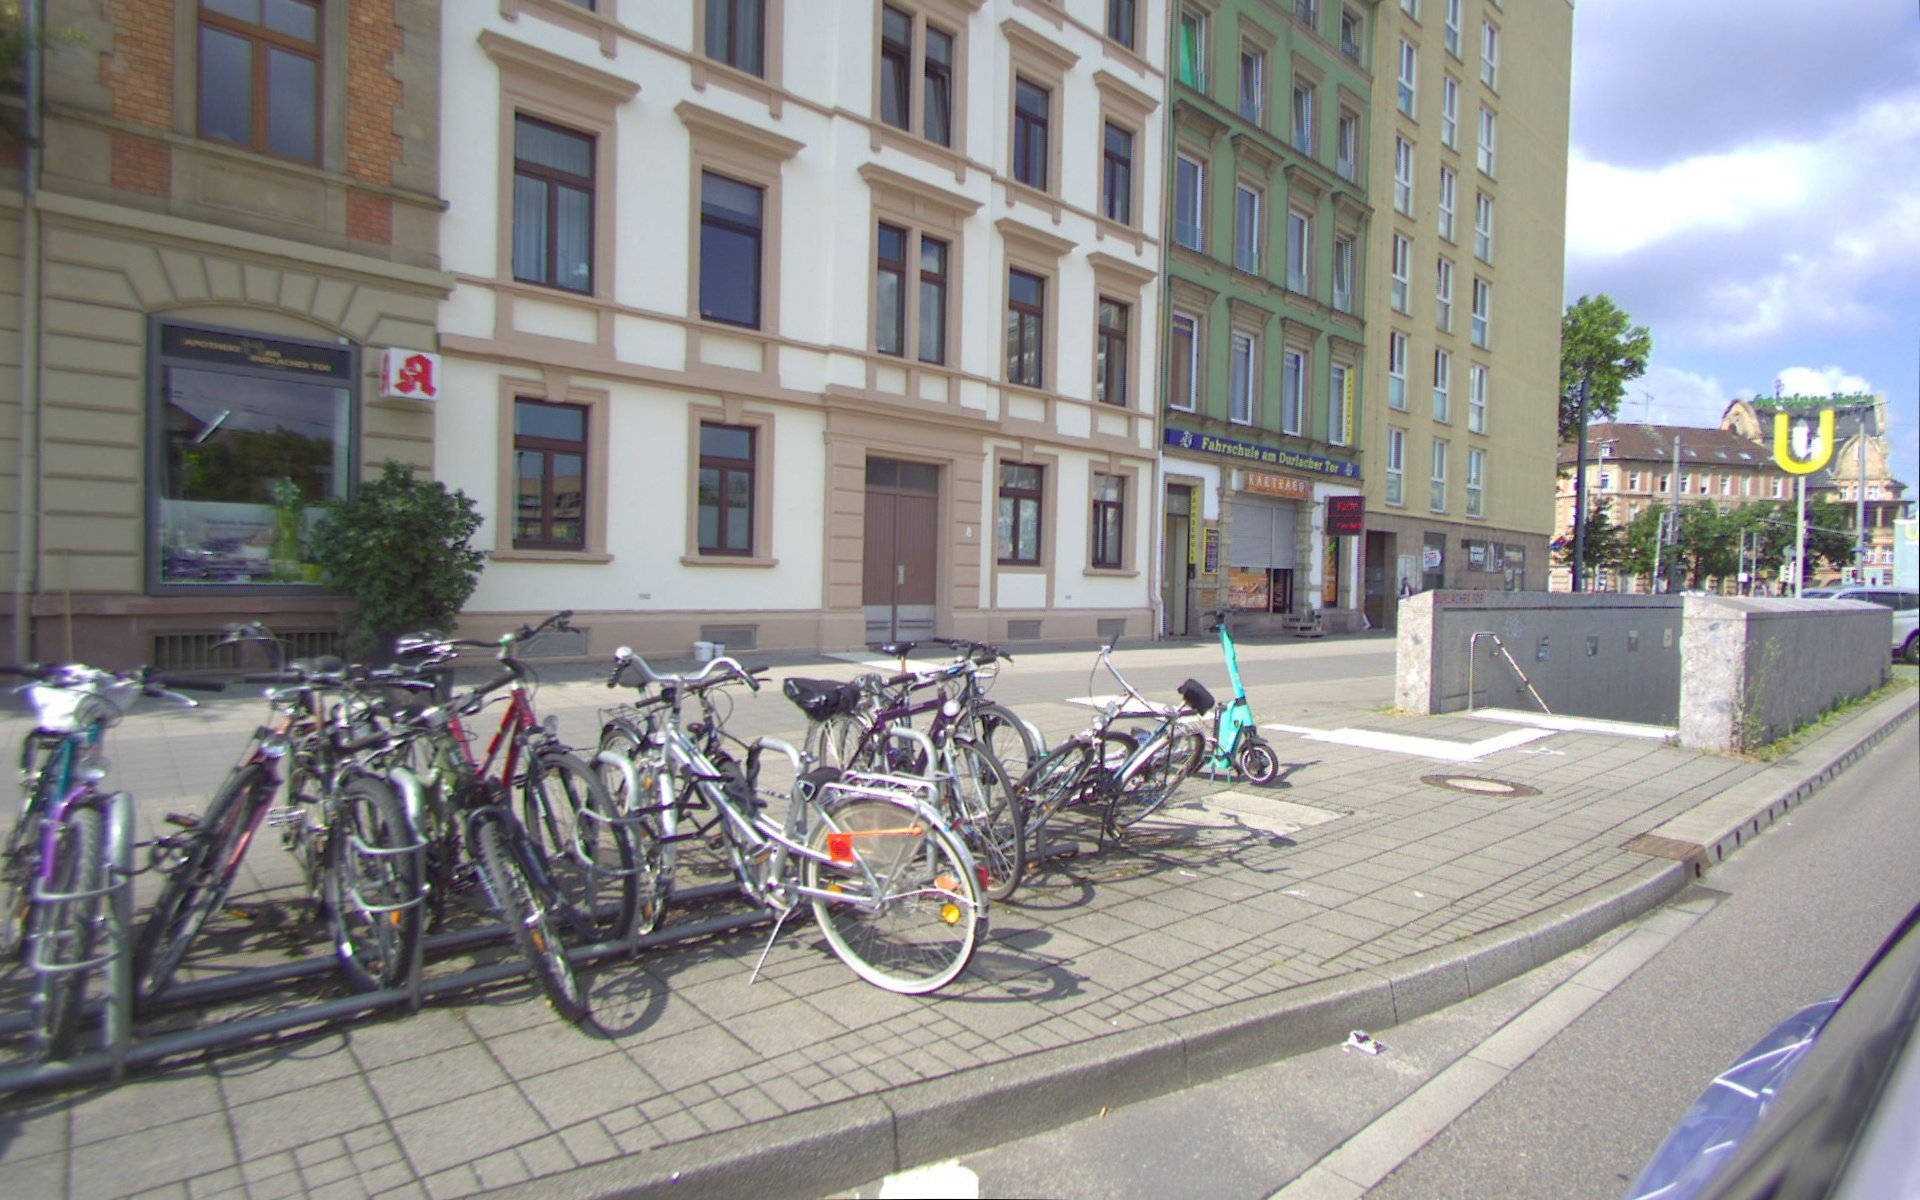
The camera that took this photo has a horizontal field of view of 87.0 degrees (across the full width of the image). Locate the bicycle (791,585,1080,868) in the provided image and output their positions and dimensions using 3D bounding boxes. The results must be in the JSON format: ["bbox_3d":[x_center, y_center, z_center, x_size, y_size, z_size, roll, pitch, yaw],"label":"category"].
[{"bbox_3d":[-0.220,0.574,5.499,0.433,1.253,1.929,3,0,-39],"label":"bicycle"}]

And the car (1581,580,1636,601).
[{"bbox_3d":[50.262,-0.725,78.518,1.657,1.488,3.659,3,0,-5],"label":"car"}]

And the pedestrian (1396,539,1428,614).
[{"bbox_3d":[12.521,-0.638,28.028,0.452,2.039,0.602,3,-1,-41],"label":"pedestrian"}]

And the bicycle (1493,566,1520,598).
[{"bbox_3d":[17.120,-0.558,31.704,1.440,0.934,0.292,2,0,-44],"label":"bicycle"}]

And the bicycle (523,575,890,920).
[{"bbox_3d":[-1.216,0.548,4.572,1.919,1.253,0.435,3,0,36],"label":"bicycle"}]

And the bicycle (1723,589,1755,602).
[{"bbox_3d":[75.694,-0.469,98.387,0.745,1.180,2.689,1,2,-8],"label":"bicycle"}]

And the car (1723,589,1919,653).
[{"bbox_3d":[21.766,0.512,24.747,4.524,1.479,1.933,-1,-1,9],"label":"car"}]

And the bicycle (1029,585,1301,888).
[{"bbox_3d":[1.110,0.598,5.098,0.439,1.253,1.902,2,-1,40],"label":"bicycle"}]

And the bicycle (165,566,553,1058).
[{"bbox_3d":[-2.117,0.541,3.427,1.921,1.253,0.435,3,0,39],"label":"bicycle"}]

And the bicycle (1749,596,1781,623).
[{"bbox_3d":[34.573,0.392,43.435,2.291,1.134,0.663,0,2,-42],"label":"bicycle"}]

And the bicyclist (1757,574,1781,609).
[{"bbox_3d":[34.947,-0.375,43.729,0.730,1.455,0.655,0,2,-41],"label":"bicyclist"}]

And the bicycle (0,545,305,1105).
[{"bbox_3d":[-2.608,0.476,3.049,1.921,1.253,0.435,3,0,39],"label":"bicycle"}]

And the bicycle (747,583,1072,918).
[{"bbox_3d":[-0.337,0.574,4.782,0.433,1.253,1.929,3,0,-39],"label":"bicycle"}]

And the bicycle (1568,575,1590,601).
[{"bbox_3d":[21.912,-0.431,35.821,1.440,0.894,0.292,-1,2,-44],"label":"bicycle"}]

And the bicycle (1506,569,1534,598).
[{"bbox_3d":[18.247,-0.529,32.972,1.439,0.934,0.293,0,1,-41],"label":"bicycle"}]

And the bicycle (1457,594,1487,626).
[{"bbox_3d":[15.142,0.302,29.918,1.440,0.934,0.292,1,1,-44],"label":"bicycle"}]

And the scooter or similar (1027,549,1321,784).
[{"bbox_3d":[1.557,0.423,7.876,0.684,1.565,2.332,3,0,-35],"label":"scooter or similar"}]

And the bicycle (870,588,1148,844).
[{"bbox_3d":[0.208,0.588,6.022,0.433,1.253,1.929,3,0,-39],"label":"bicycle"}]

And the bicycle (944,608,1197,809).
[{"bbox_3d":[0.676,0.657,6.883,0.433,1.117,1.929,3,0,-39],"label":"bicycle"}]

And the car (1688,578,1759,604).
[{"bbox_3d":[54.660,-0.639,72.558,1.961,1.593,3.740,6,0,-4],"label":"car"}]

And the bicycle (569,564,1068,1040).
[{"bbox_3d":[-0.589,0.531,3.499,1.920,1.253,0.435,3,0,37],"label":"bicycle"}]

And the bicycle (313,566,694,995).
[{"bbox_3d":[-1.800,0.525,3.810,1.921,1.253,0.435,3,0,39],"label":"bicycle"}]

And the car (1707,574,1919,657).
[{"bbox_3d":[19.579,0.317,22.284,4.517,1.667,2.058,2,2,7],"label":"car"}]
